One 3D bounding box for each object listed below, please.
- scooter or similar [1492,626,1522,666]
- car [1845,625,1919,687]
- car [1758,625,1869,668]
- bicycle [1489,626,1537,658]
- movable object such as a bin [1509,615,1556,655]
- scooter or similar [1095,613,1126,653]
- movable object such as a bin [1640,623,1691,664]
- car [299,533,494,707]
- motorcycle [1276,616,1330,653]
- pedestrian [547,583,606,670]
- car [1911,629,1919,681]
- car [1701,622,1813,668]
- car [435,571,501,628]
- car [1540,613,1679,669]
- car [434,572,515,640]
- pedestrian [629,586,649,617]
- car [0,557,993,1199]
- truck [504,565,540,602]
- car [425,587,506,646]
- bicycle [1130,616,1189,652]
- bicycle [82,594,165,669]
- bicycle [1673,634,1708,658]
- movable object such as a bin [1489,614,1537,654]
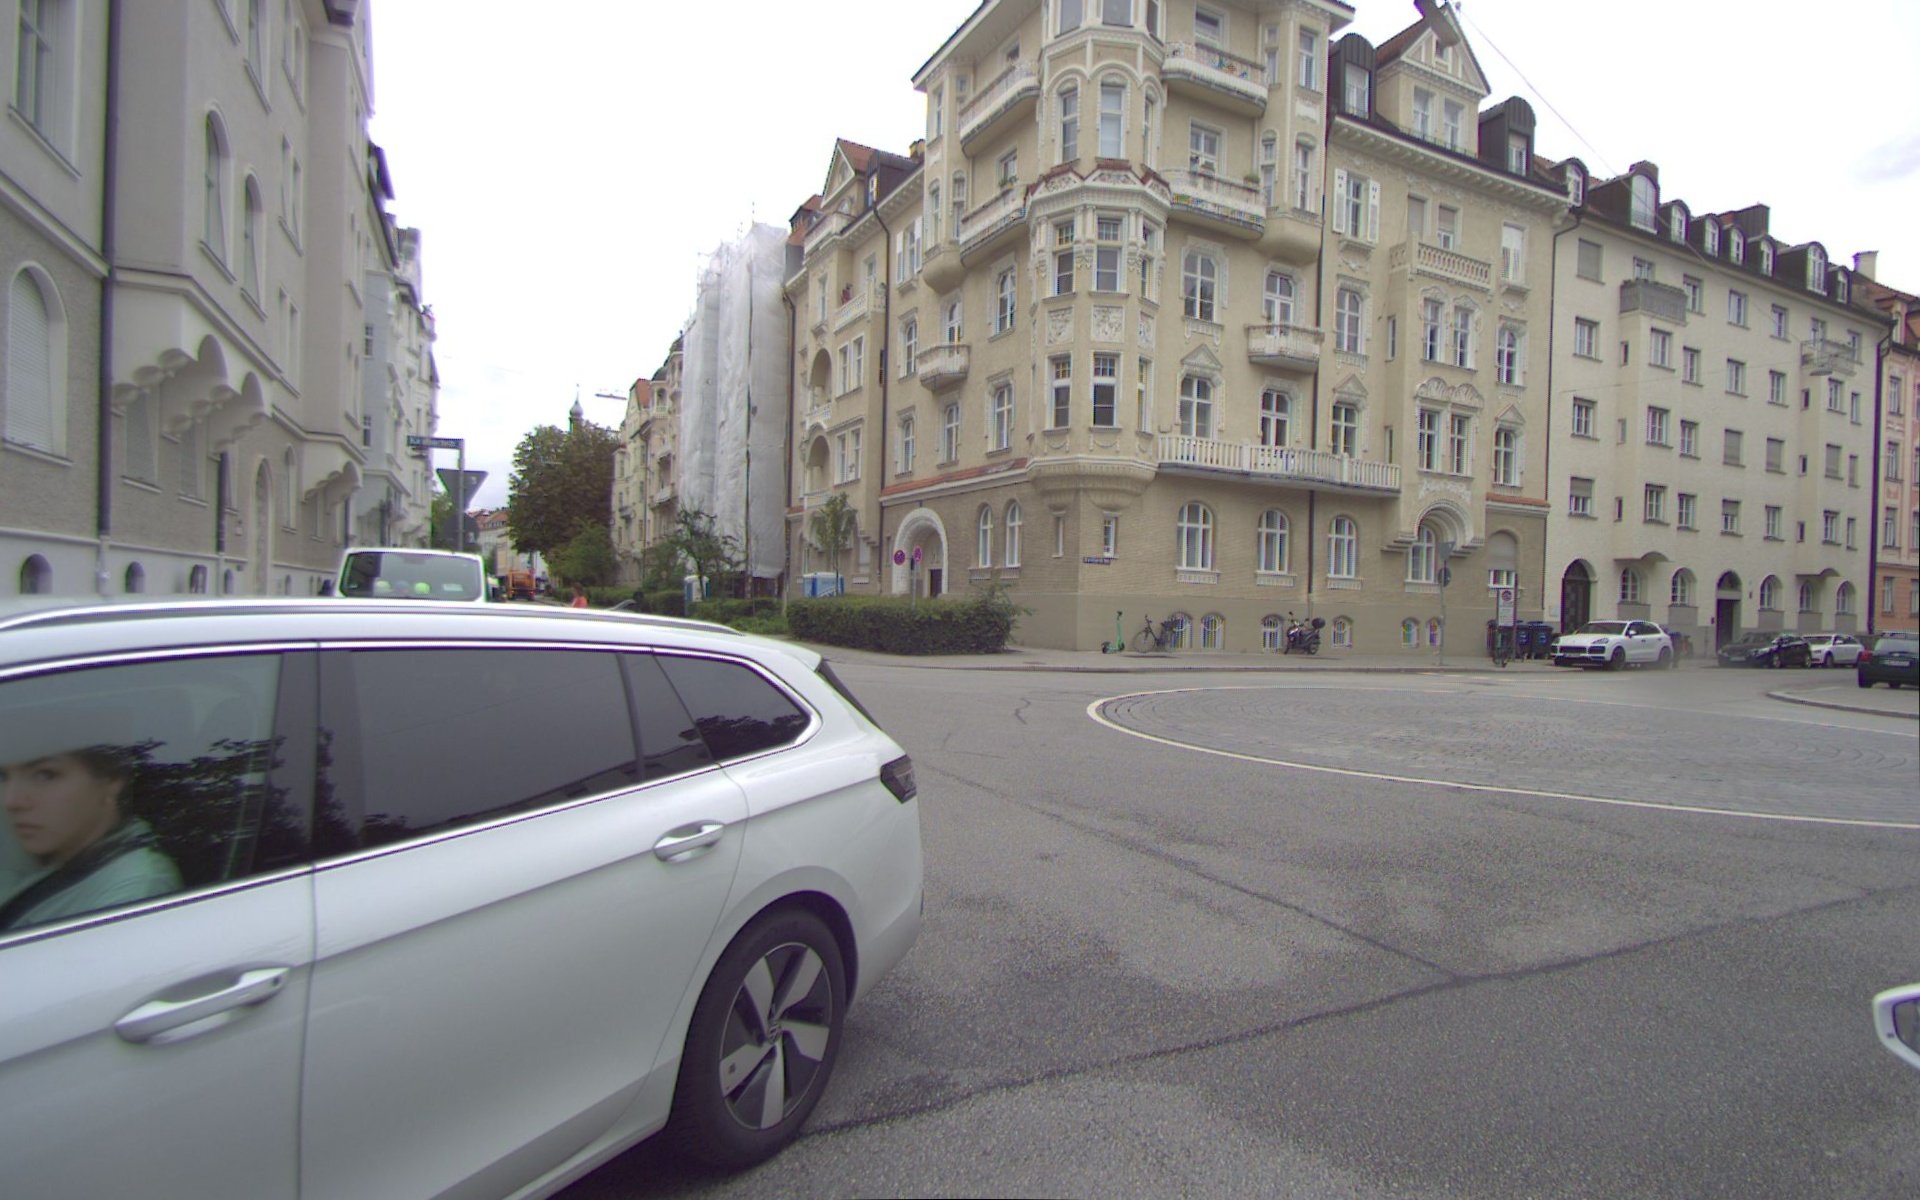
[{"bbox_3d":[17.536,1.451,32.235,0.458,1.209,1.216,2,0,11],"label":"scooter or similar"},{"bbox_3d":[25.761,1.485,27.058,4.375,1.525,1.808,2,-1,-33],"label":"car"},{"bbox_3d":[35.543,1.937,41.809,4.351,1.602,1.968,2,1,-27],"label":"car"},{"bbox_3d":[19.277,1.467,34.993,1.808,1.063,0.560,2,0,-29],"label":"bicycle"},{"bbox_3d":[21.931,1.329,38.464,1.158,1.444,1.087,2,0,-26],"label":"movable object such as a bin"},{"bbox_3d":[4.400,0.944,29.257,0.459,1.130,1.213,2,0,29],"label":"scooter or similar"},{"bbox_3d":[25.943,1.590,36.928,1.158,1.444,1.087,2,0,-26],"label":"movable object such as a bin"},{"bbox_3d":[-7.489,0.209,13.637,1.901,1.906,4.876,2,0,-27],"label":"car"},{"bbox_3d":[11.317,1.148,33.150,1.808,1.192,0.595,2,0,-29],"label":"motorcycle"},{"bbox_3d":[-7.468,0.507,19.576,0.849,1.658,0.724,2,0,-40],"label":"pedestrian"},{"bbox_3d":[30.128,1.656,29.890,4.190,1.525,1.783,2,-1,-33],"label":"car"},{"bbox_3d":[31.334,1.746,39.454,4.660,1.637,1.965,2,1,-32],"label":"car"},{"bbox_3d":[-19.707,-0.022,40.142,2.099,2.119,4.785,2,0,-29],"label":"car"},{"bbox_3d":[22.236,1.403,34.346,4.782,1.723,1.967,2,1,-29],"label":"car"},{"bbox_3d":[-14.574,0.183,30.340,1.999,1.863,4.112,2,0,-24],"label":"car"},{"bbox_3d":[-18.344,0.092,57.331,0.866,1.749,1.044,2,0,-28],"label":"pedestrian"},{"bbox_3d":[-1.847,0.656,2.055,1.856,1.468,4.884,2,0,28],"label":"car"},{"bbox_3d":[-47.151,-1.743,108.037,3.149,3.671,8.675,2,0,-25],"label":"truck"},{"bbox_3d":[-12.446,0.393,25.383,1.675,1.364,3.656,2,0,-25],"label":"car"},{"bbox_3d":[6.062,1.030,30.443,1.808,1.063,0.560,2,0,-29],"label":"bicycle"},{"bbox_3d":[-12.811,0.457,15.429,0.485,1.063,1.819,1,0,-25],"label":"bicycle"},{"bbox_3d":[32.839,2.061,45.126,1.808,1.063,0.560,2,0,-29],"label":"bicycle"},{"bbox_3d":[20.877,1.293,37.931,1.158,1.444,1.087,2,0,-26],"label":"movable object such as a bin"}]
